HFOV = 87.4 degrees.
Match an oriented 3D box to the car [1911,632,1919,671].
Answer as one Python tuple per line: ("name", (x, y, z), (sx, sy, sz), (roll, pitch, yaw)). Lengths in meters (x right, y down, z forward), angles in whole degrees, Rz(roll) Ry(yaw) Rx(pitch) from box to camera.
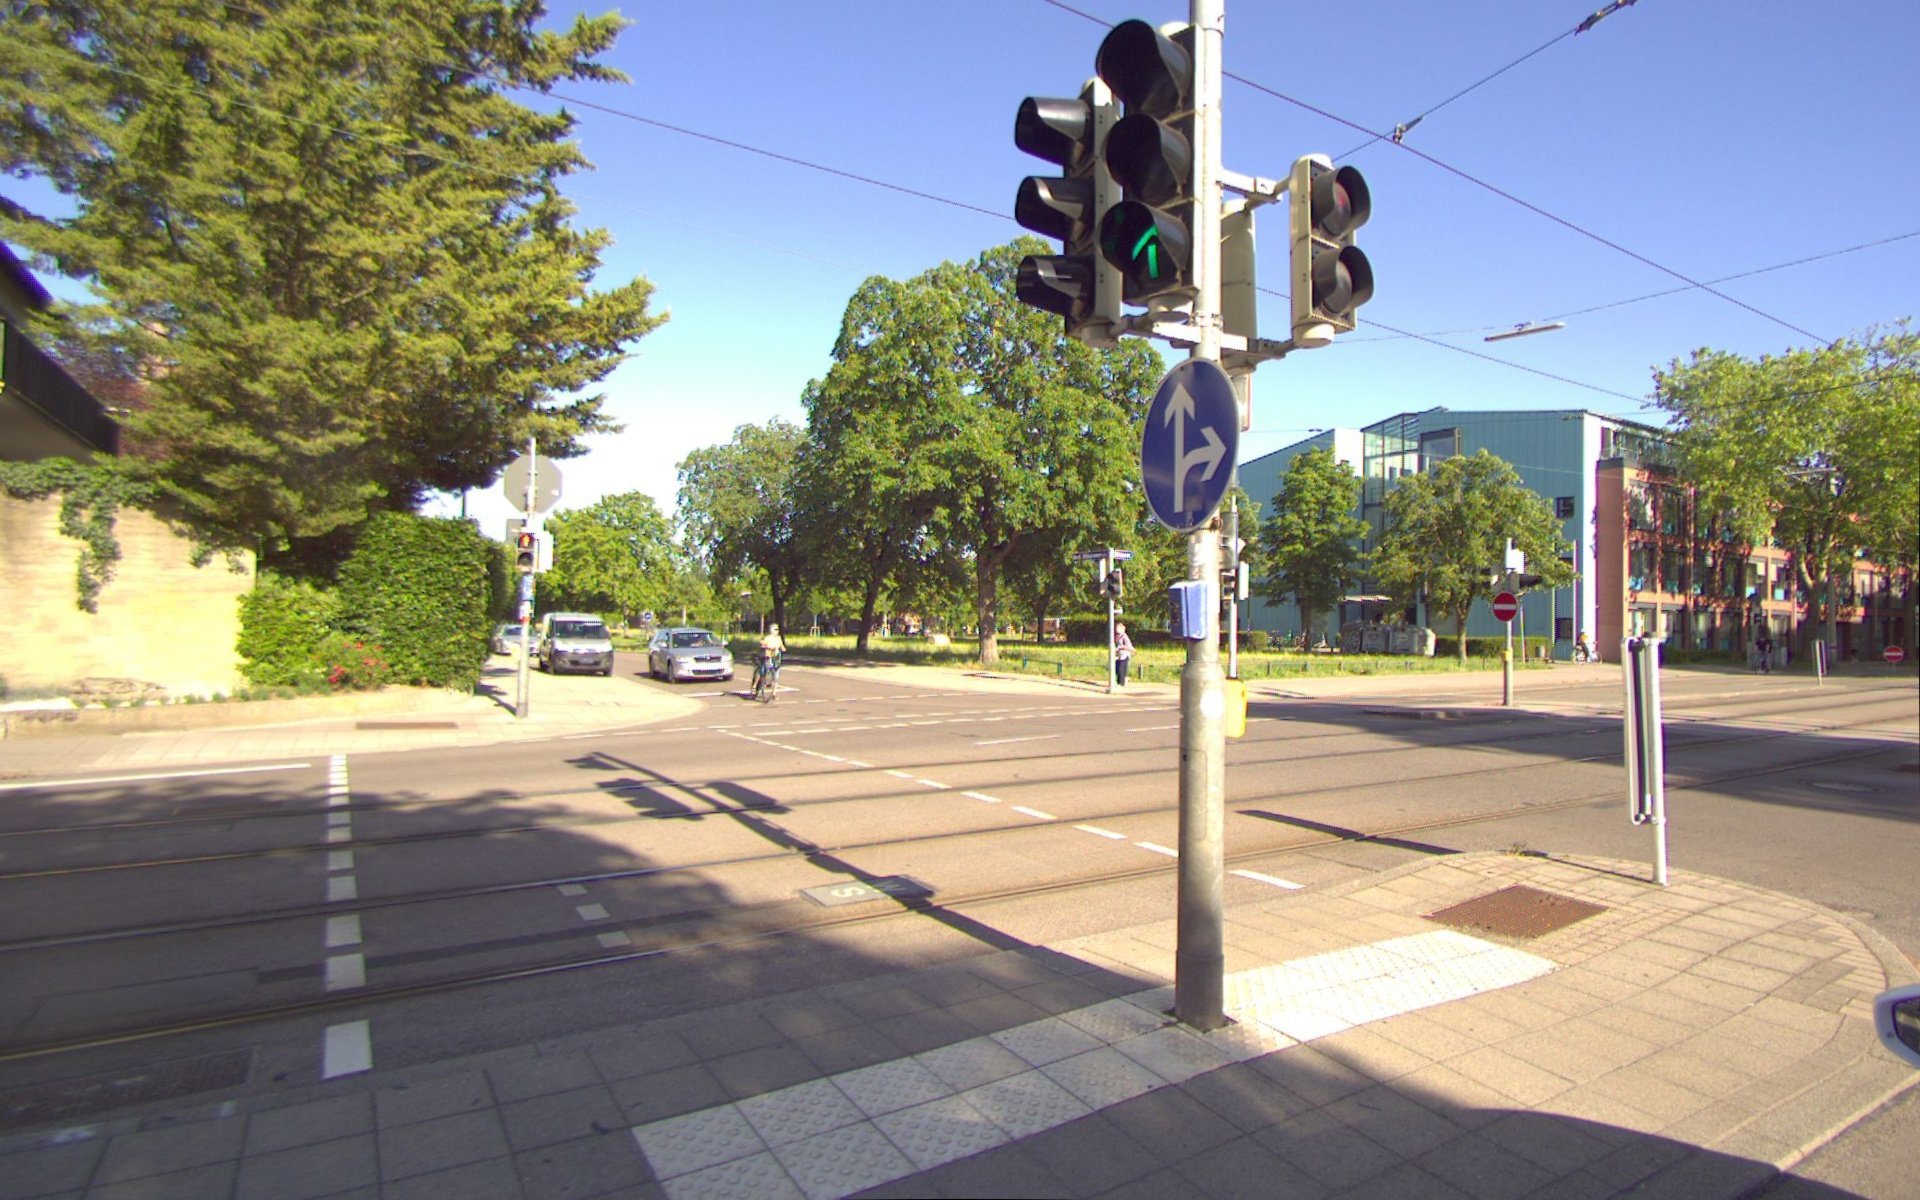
("car", (53.315, 2.744, 54.274), (5.204, 2.040, 2.005), (1, -3, -38))

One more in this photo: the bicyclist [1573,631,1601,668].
("bicyclist", (29.986, 2.358, 48.027), (0.915, 1.715, 0.606), (1, 0, -7))

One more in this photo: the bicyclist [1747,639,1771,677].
("bicyclist", (36.627, 2.639, 46.047), (0.892, 1.733, 0.583), (1, -2, -35))

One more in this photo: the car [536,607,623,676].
("car", (-11.466, 1.216, 30.108), (1.795, 1.891, 4.282), (1, -2, -29))

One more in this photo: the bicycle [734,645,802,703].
("bicycle", (-4.133, 1.553, 21.458), (0.917, 1.132, 2.274), (1, -2, -24))

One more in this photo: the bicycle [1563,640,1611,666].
("bicycle", (29.976, 2.529, 48.023), (1.997, 1.144, 0.633), (2, 0, -7))

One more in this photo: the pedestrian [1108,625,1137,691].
("pedestrian", (4.029, 1.431, 24.945), (0.665, 1.577, 0.624), (2, 0, 9))

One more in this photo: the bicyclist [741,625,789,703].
("bicyclist", (-4.198, 1.360, 21.606), (0.886, 1.644, 0.556), (1, -2, -25))

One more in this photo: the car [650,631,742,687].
("car", (-7.589, 1.618, 28.606), (1.793, 1.452, 3.974), (1, -2, -26))

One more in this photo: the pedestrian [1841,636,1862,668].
("pedestrian", (58.732, 3.433, 66.193), (0.775, 2.040, 0.902), (1, 1, -41))

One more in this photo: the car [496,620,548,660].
("car", (-20.443, 1.822, 46.804), (1.795, 1.765, 4.169), (1, -2, -29))

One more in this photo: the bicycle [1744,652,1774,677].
("bicycle", (36.650, 2.944, 46.060), (1.808, 1.128, 0.583), (1, -3, -35))
